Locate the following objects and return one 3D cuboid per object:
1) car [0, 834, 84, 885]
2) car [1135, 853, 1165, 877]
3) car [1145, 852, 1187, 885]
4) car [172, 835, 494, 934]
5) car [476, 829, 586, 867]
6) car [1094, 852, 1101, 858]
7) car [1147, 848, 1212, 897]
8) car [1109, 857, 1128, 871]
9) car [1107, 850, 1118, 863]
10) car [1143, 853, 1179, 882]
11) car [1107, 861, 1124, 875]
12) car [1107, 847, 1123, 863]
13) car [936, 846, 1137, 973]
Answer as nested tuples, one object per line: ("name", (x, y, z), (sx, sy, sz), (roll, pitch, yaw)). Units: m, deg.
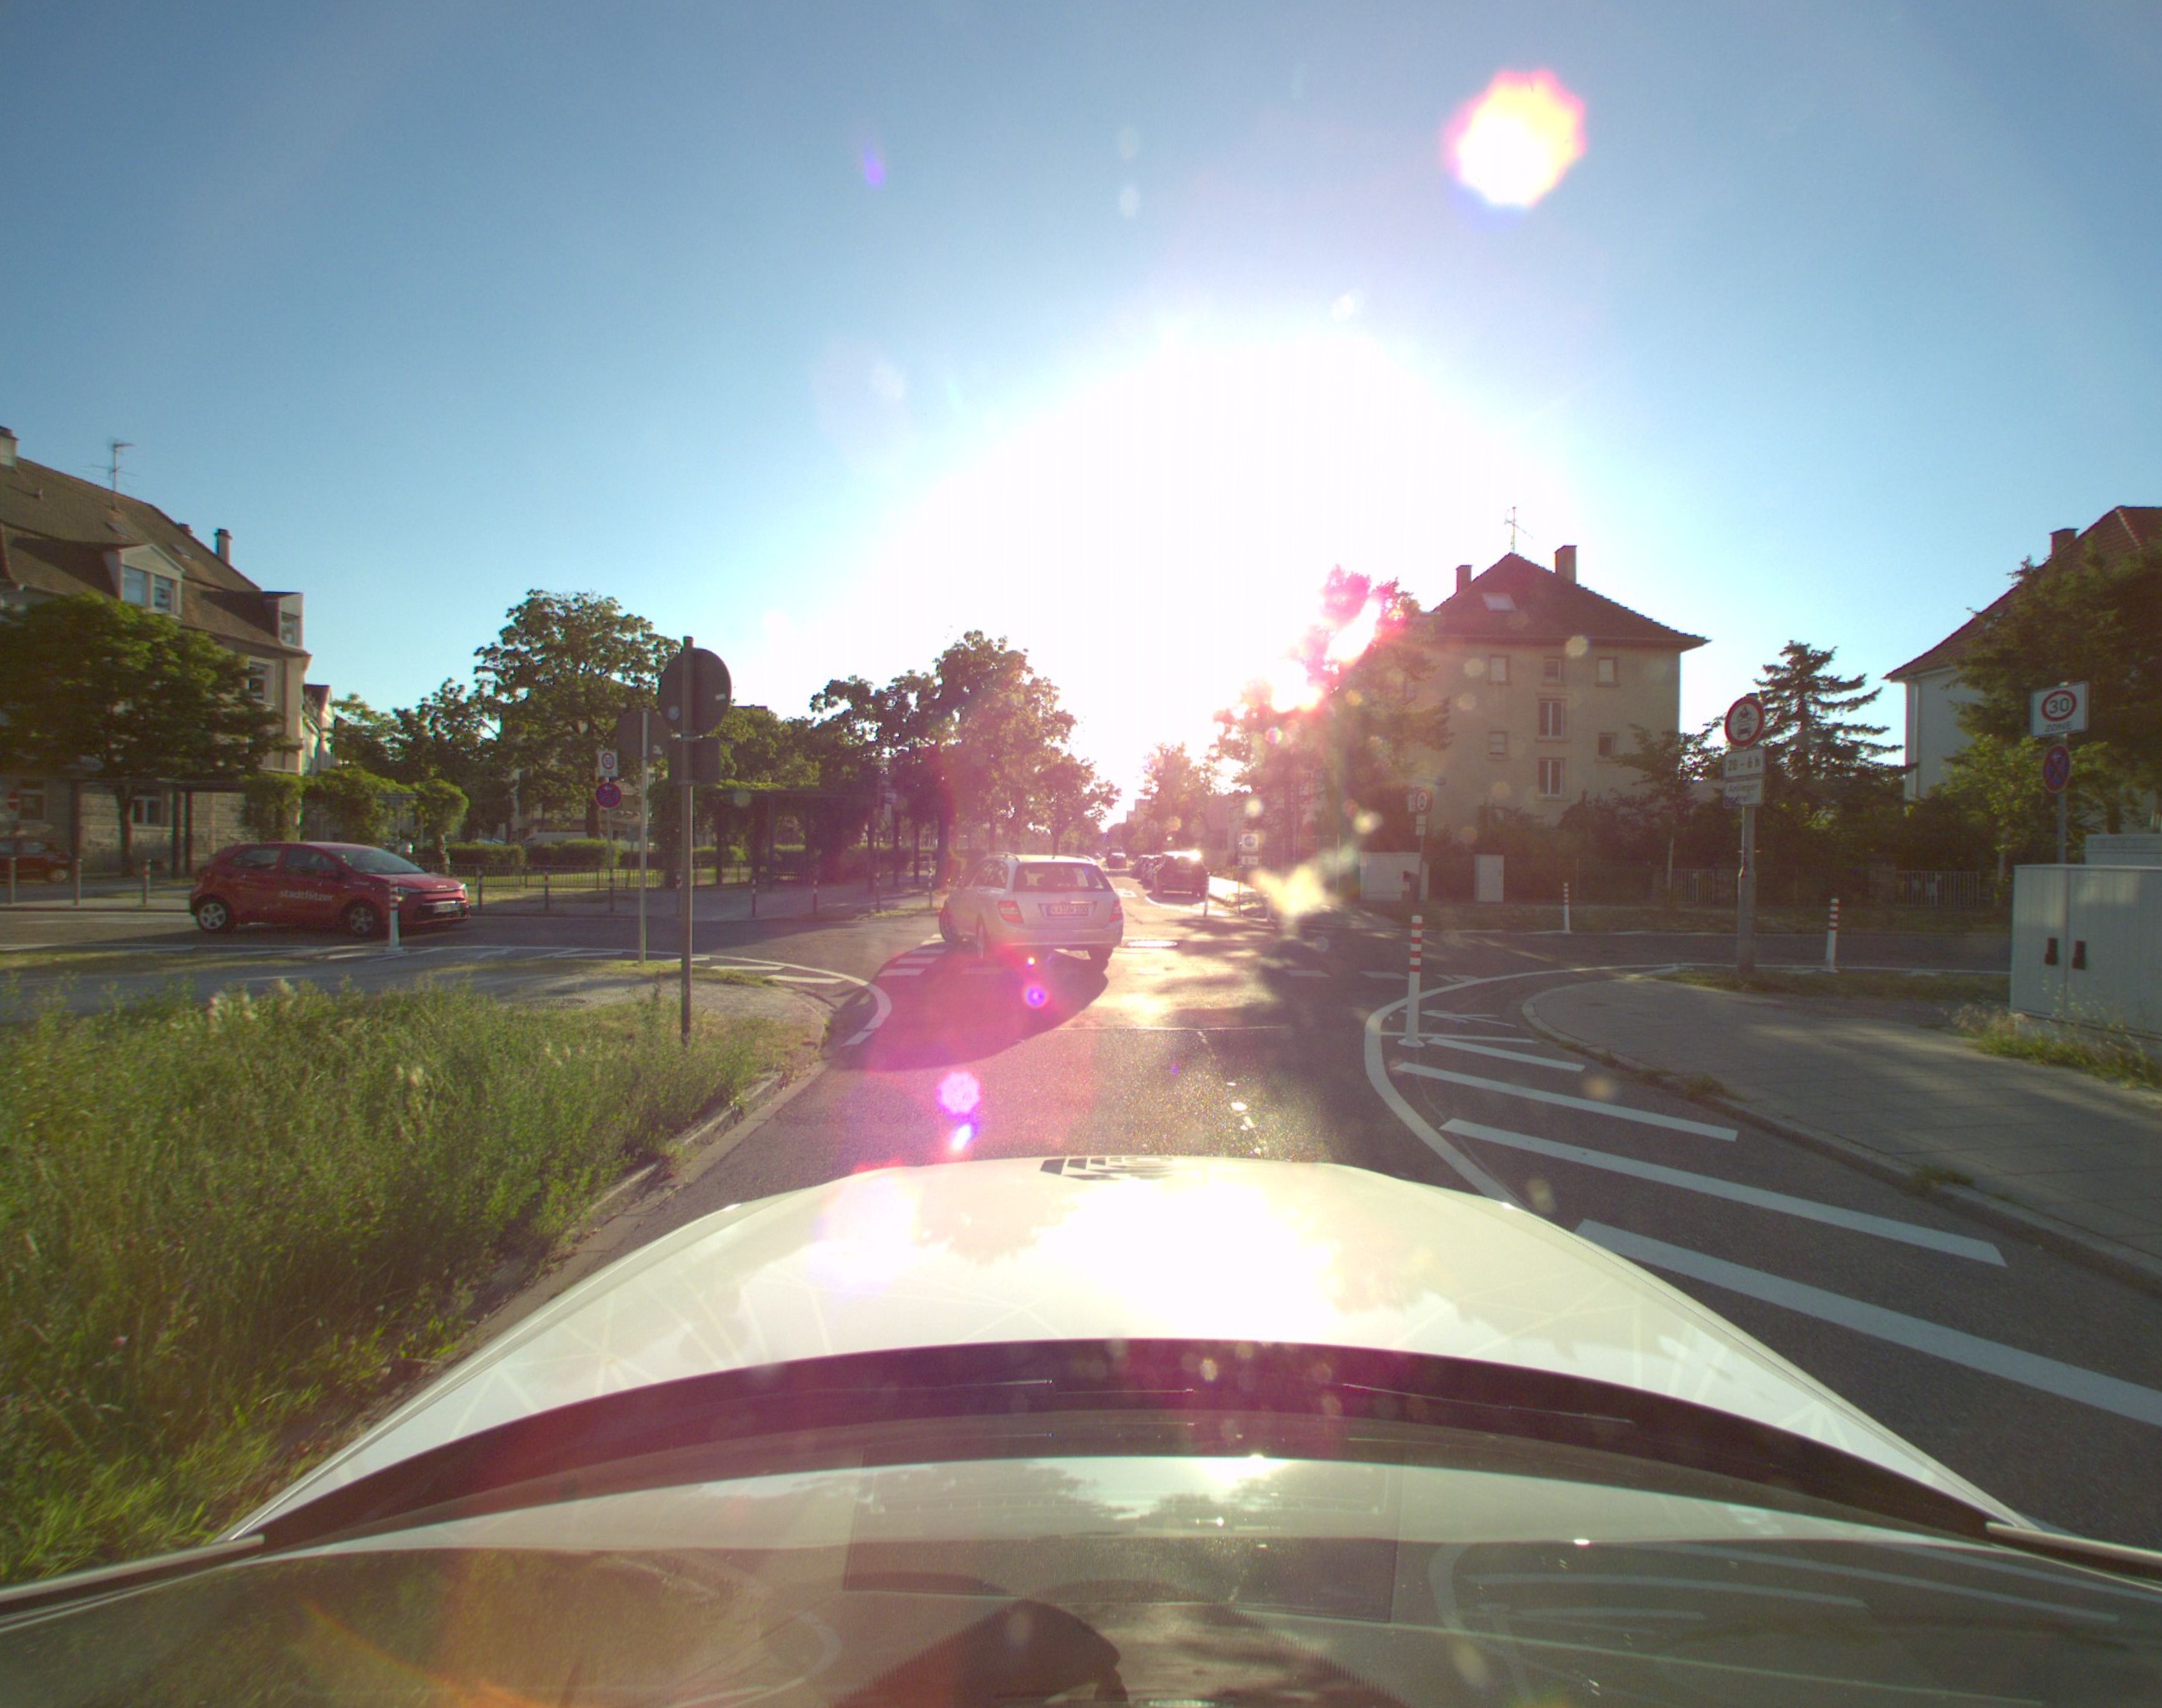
("car", (-38.793, 0.189, 28.833), (1.799, 1.741, 4.090), (3, 0, 3))
("car", (4.538, 0.689, 53.938), (1.759, 1.526, 3.774), (0, 0, 1))
("car", (4.119, 0.703, 39.828), (1.758, 1.526, 3.774), (0, 0, 1))
("car", (-12.394, 0.483, 13.678), (3.748, 1.526, 1.771), (0, 0, 0))
("car", (-41.781, -0.389, 62.138), (6.706, 2.745, 2.297), (1, 0, -28))
("car", (4.859, 0.295, 236.334), (1.859, 1.618, 4.000), (1, 0, 0))
("car", (3.657, 0.647, 30.886), (1.812, 1.641, 4.214), (3, 0, -1))
("car", (4.079, 1.074, 88.768), (1.752, 1.518, 3.758), (1, 0, -1))
("car", (5.611, 0.431, 145.692), (1.986, 2.123, 4.002), (1, 0, 2))
("car", (4.345, 0.731, 44.731), (1.723, 1.518, 3.761), (1, 0, 1))
("car", (3.911, 1.568, 92.686), (1.725, 1.518, 3.758), (1, 0, -1))
("car", (4.447, 0.142, 106.518), (1.986, 2.123, 4.002), (1, 0, 2))
("car", (-0.851, 0.638, 11.751), (1.822, 1.473, 4.189), (0, 0, -19))
